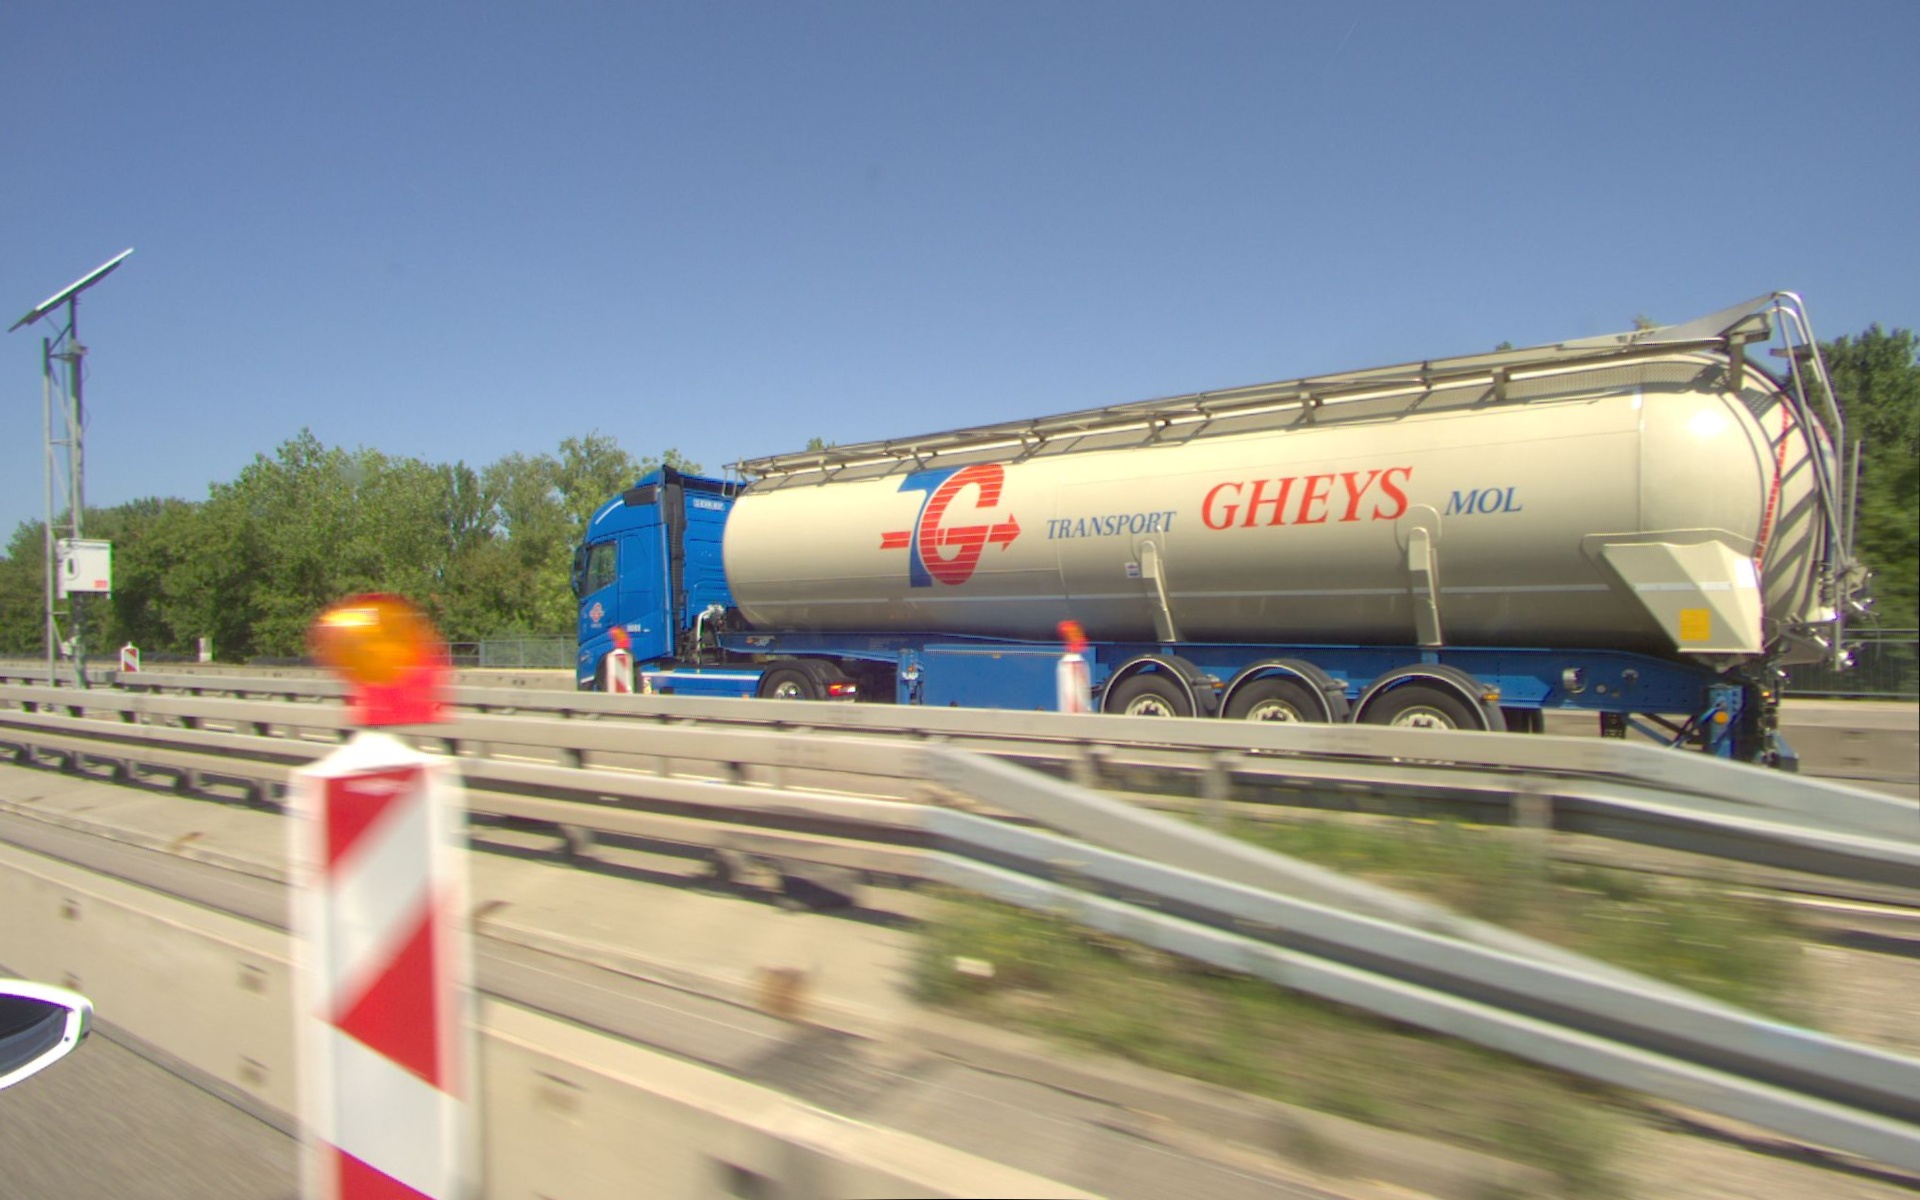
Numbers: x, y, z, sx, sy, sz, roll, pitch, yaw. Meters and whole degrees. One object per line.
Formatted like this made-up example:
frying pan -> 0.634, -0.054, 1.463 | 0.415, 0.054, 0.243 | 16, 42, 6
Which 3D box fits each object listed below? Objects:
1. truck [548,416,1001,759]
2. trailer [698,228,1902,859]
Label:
truck -> -3.105, -0.070, 15.406 | 7.207, 4.156, 2.685 | -1, -1, 37
trailer -> 2.069, -0.236, 11.499 | 12.454, 4.191, 2.685 | -1, -1, 37
